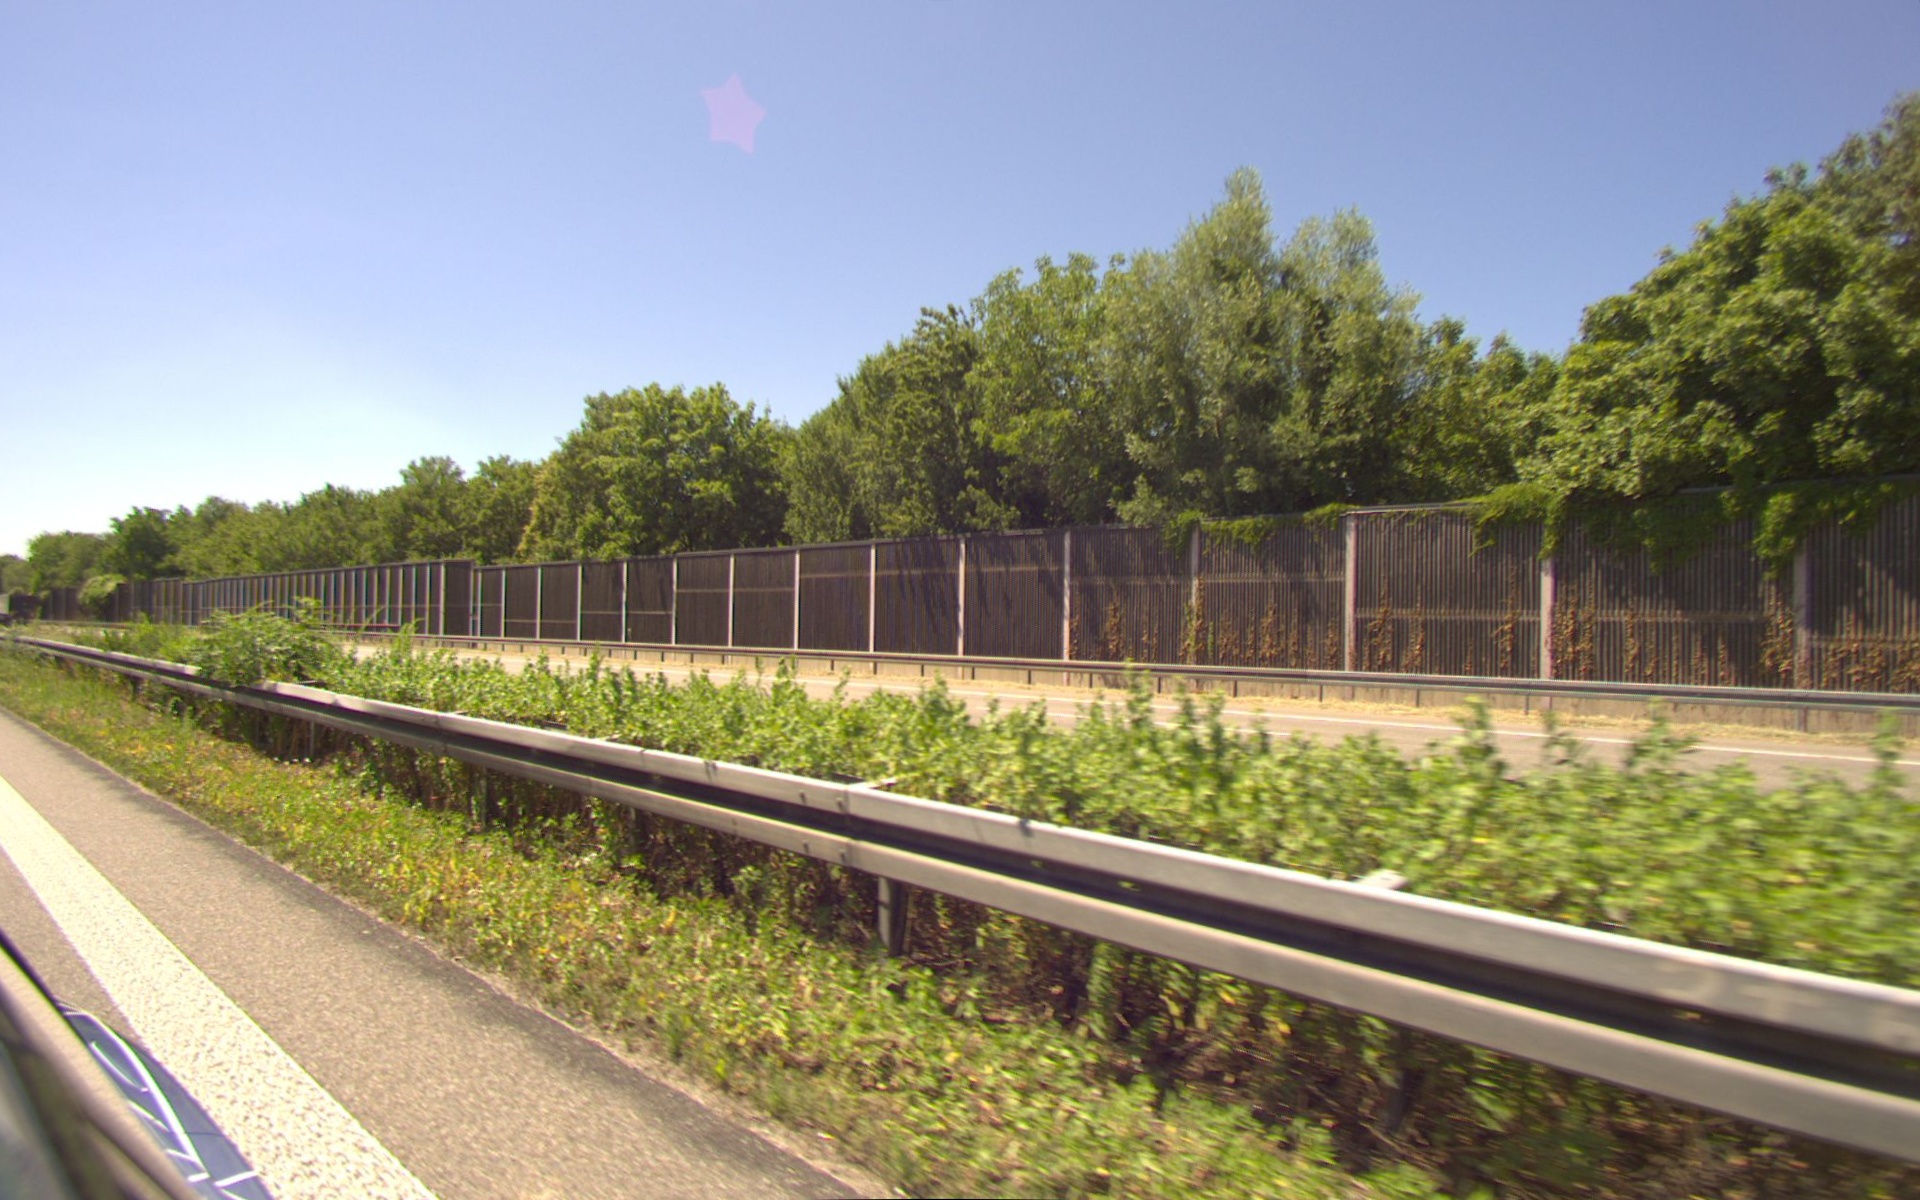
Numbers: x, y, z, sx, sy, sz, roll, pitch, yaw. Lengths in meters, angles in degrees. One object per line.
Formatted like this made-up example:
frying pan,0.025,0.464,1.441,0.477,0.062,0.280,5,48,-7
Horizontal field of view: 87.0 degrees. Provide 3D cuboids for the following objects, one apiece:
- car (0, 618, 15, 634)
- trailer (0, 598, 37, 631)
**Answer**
car,-103.048,2.788,108.600,4.545,1.705,1.861,-1,-1,40
trailer,-123.342,1.935,131.674,13.869,4.039,3.084,-1,-4,41
